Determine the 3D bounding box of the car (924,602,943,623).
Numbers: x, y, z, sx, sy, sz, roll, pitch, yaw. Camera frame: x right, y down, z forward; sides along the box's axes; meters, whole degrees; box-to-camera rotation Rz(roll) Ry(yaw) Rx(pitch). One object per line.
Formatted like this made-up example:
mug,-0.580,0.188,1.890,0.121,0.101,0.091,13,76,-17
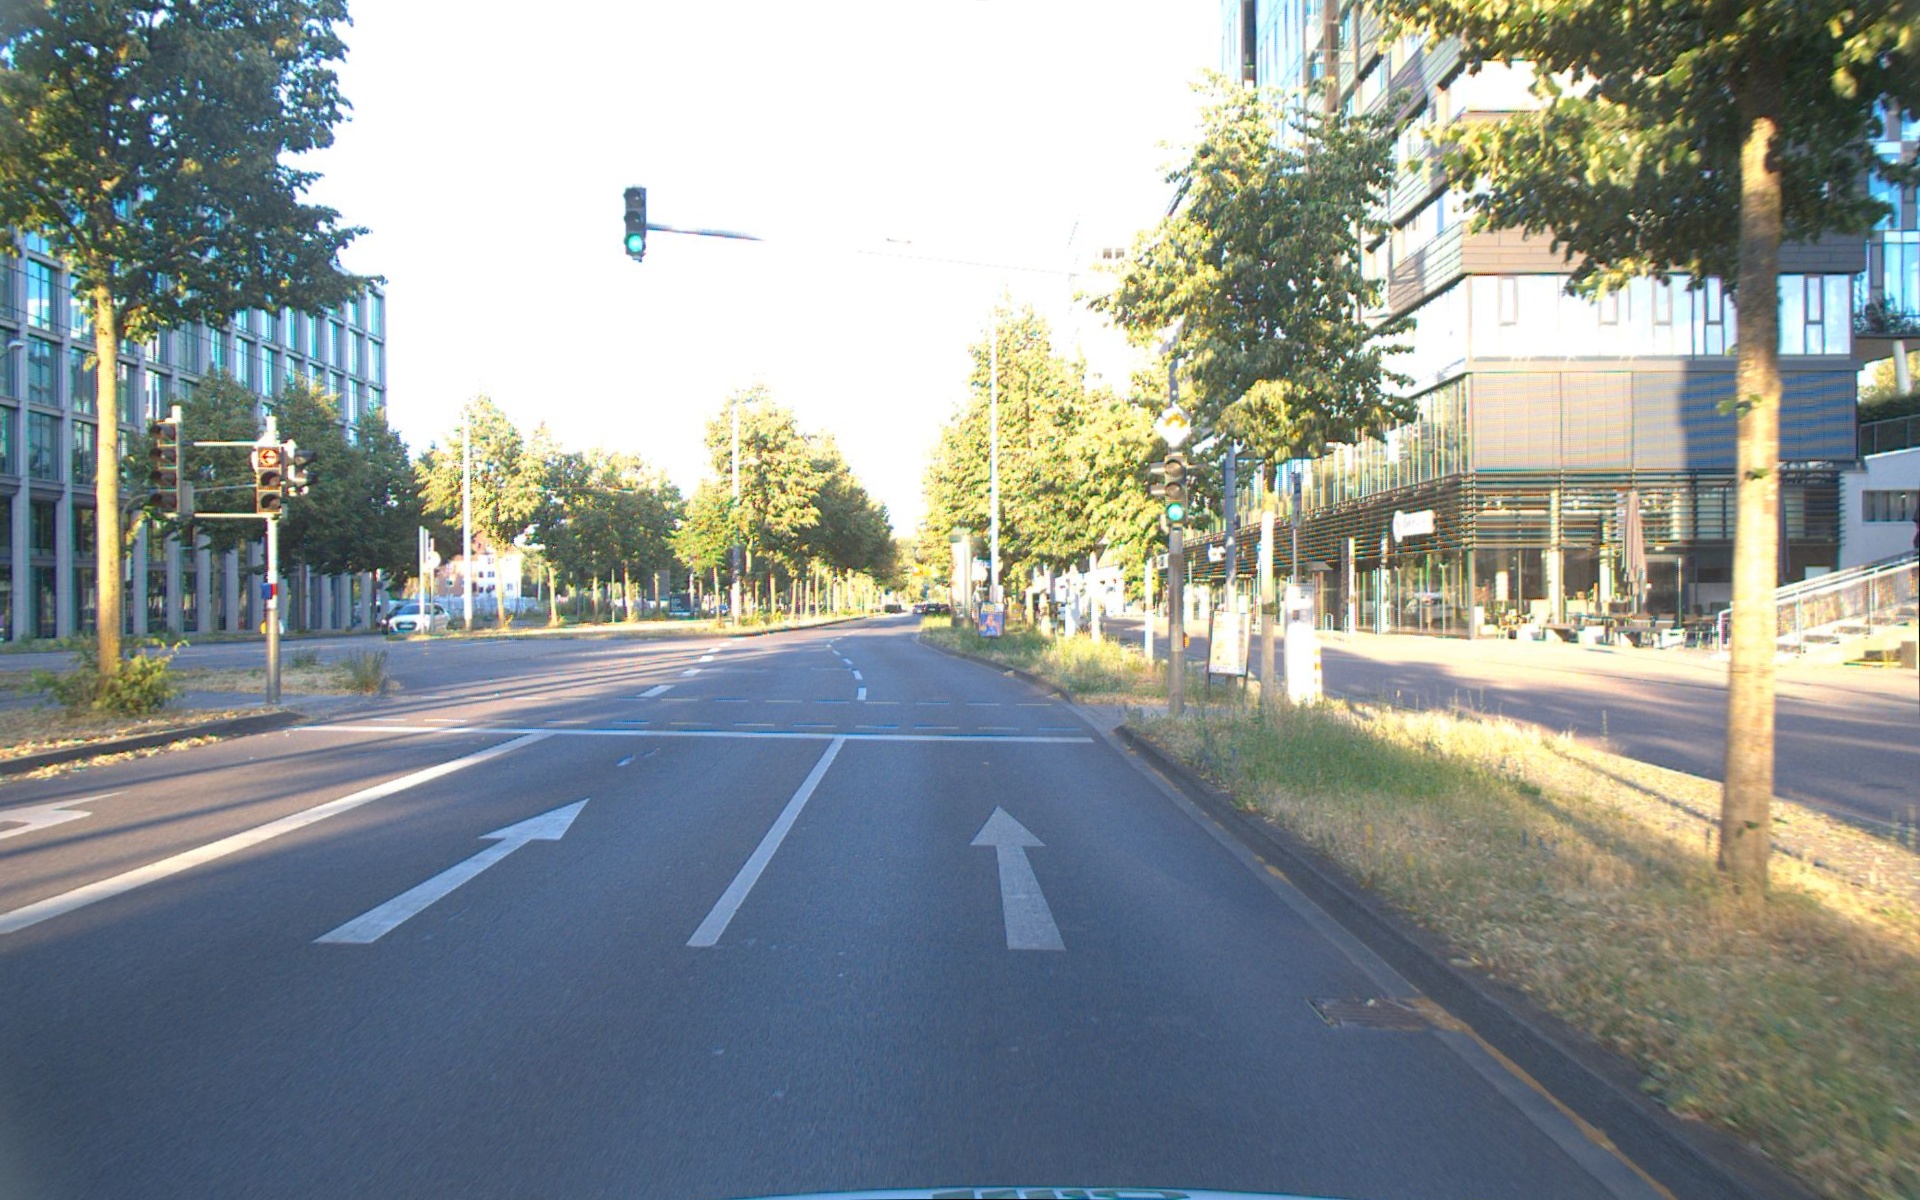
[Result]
car,-2.750,1.265,170.476,1.953,2.049,3.999,0,1,-2

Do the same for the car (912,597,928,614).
car,-5.128,0.702,211.059,2.045,2.049,3.999,0,1,-2

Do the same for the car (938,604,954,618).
car,-1.646,1.325,197.119,1.834,1.601,3.677,0,0,1

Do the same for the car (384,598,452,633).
car,-22.586,0.629,69.076,1.751,1.355,3.670,-1,0,-2
